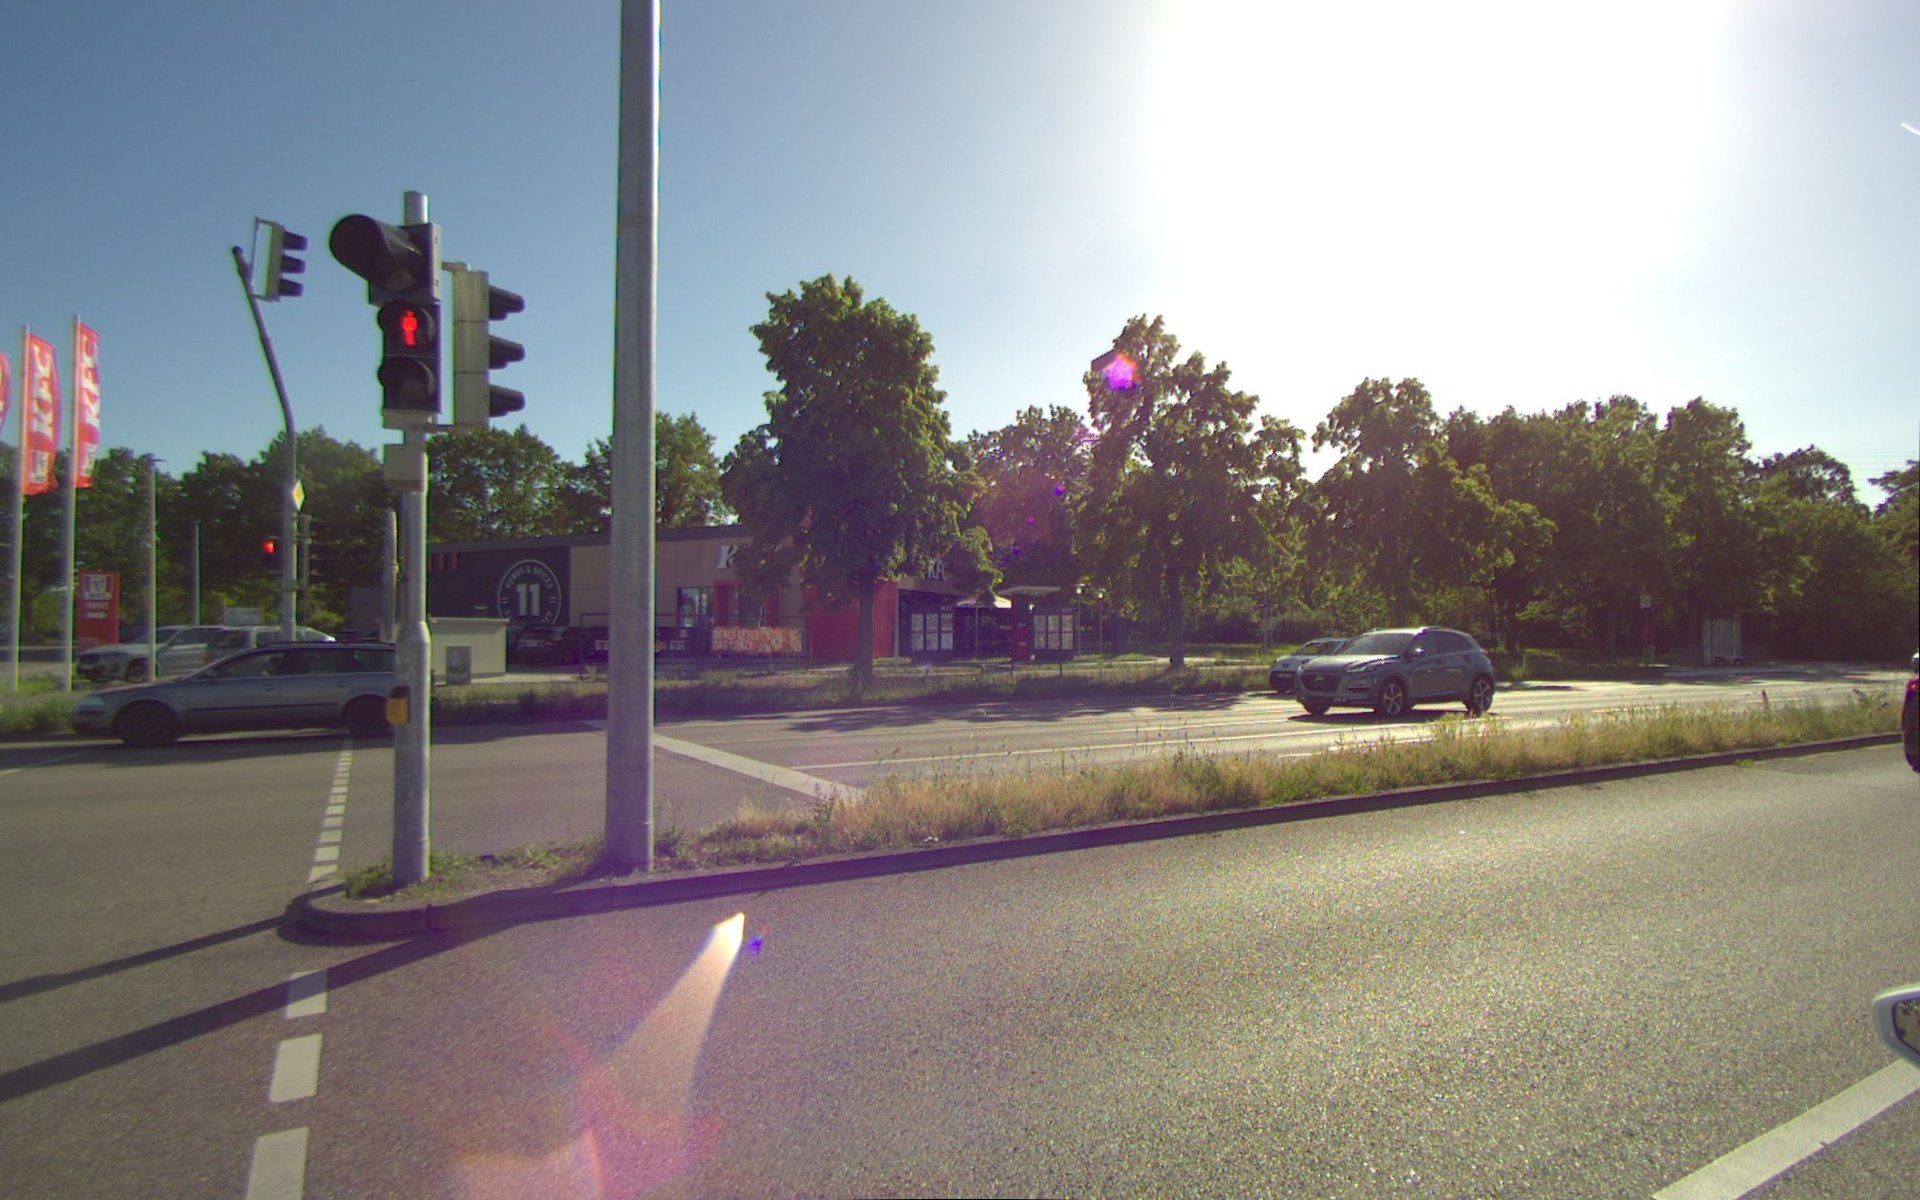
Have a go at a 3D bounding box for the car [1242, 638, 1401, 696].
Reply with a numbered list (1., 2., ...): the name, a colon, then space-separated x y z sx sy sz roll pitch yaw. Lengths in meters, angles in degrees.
1. car: 10.067 1.817 27.937 4.147 1.493 1.984 2 -2 -30

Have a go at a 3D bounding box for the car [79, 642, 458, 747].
1. car: -10.418 1.371 15.614 4.569 1.394 1.984 2 -2 -30

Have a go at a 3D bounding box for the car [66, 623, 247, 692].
1. car: -24.017 1.654 30.192 1.811 1.875 3.830 1 -1 20

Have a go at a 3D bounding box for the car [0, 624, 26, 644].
1. car: -90.705 3.192 94.603 4.693 1.822 2.102 -1 -3 20

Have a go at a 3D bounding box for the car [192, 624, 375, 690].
1. car: -19.506 1.582 29.191 1.858 1.684 4.134 1 -1 17

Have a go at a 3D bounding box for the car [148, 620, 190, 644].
1. car: -58.501 2.376 74.254 4.242 1.690 1.898 -3 -4 44

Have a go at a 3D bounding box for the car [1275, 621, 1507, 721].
1. car: 7.997 1.277 18.579 4.122 1.663 1.866 2 -4 -30

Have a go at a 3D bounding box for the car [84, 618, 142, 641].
1. car: -71.616 2.512 84.932 4.699 1.822 2.099 -1 -3 27

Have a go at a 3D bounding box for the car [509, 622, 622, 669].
1. car: -15.434 1.742 39.512 1.858 1.684 4.244 1 -1 17

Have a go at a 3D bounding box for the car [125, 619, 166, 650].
1. car: -51.663 2.237 63.724 1.893 1.867 4.252 2 -4 -39

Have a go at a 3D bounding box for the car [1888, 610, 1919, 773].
1. car: 11.650 0.965 10.525 4.175 1.619 1.700 2 -1 -30

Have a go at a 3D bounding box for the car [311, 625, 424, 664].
1. car: -25.462 1.865 43.310 1.845 1.539 4.002 1 -1 15

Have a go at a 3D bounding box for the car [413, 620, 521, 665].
1. car: -20.601 1.768 42.172 1.845 1.771 4.002 0 -2 15
